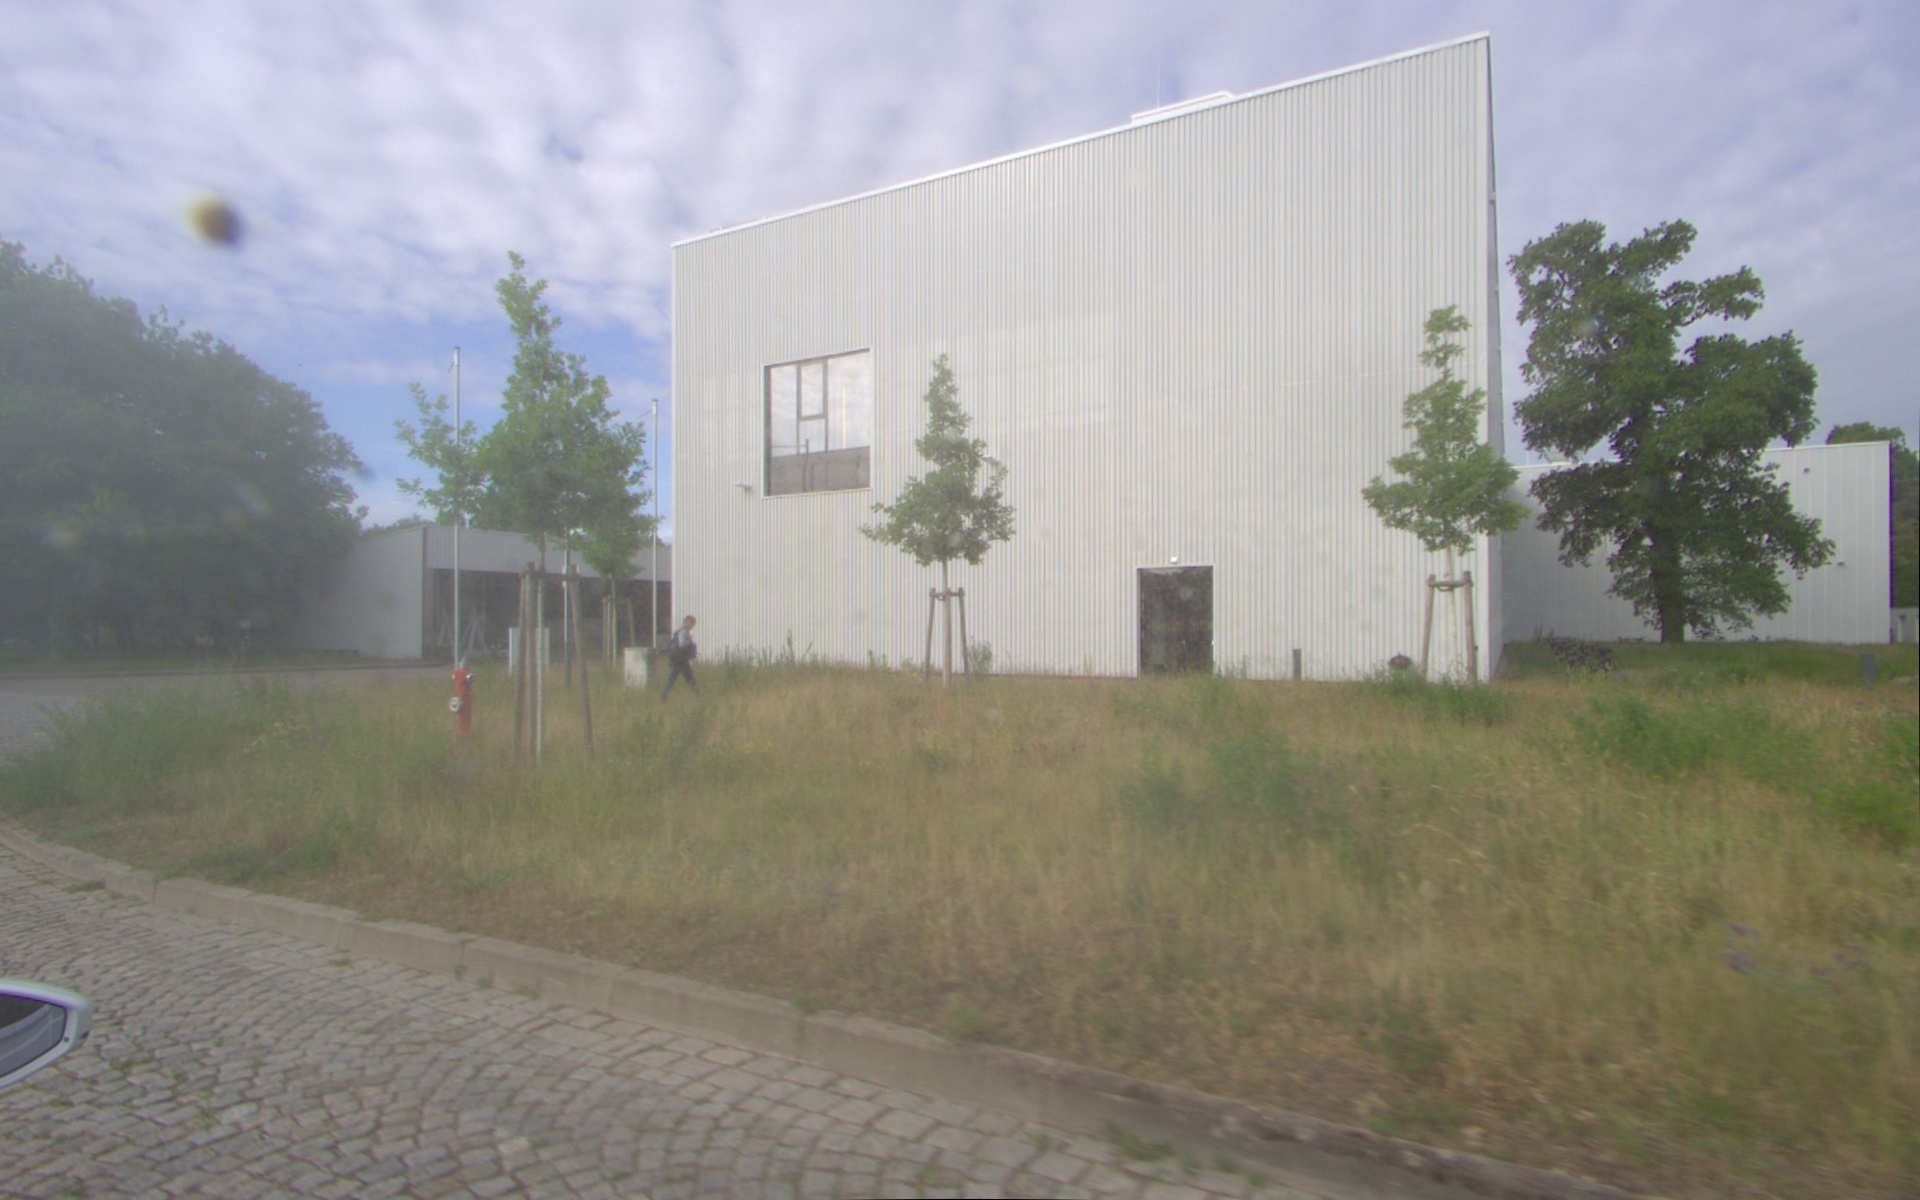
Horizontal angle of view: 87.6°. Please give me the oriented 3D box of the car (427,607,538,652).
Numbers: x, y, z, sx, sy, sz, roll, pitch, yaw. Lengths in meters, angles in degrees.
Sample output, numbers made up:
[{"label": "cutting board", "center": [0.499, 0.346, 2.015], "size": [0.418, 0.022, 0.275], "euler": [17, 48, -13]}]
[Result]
[{"label": "car", "center": [-23.098, 1.413, 48.387], "size": [5.255, 2.040, 2.239], "euler": [-1, -1, 29]}]

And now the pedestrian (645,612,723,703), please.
[{"label": "pedestrian", "center": [-4.969, 1.012, 18.013], "size": [1.066, 1.576, 1.067], "euler": [0, -1, -37]}]
